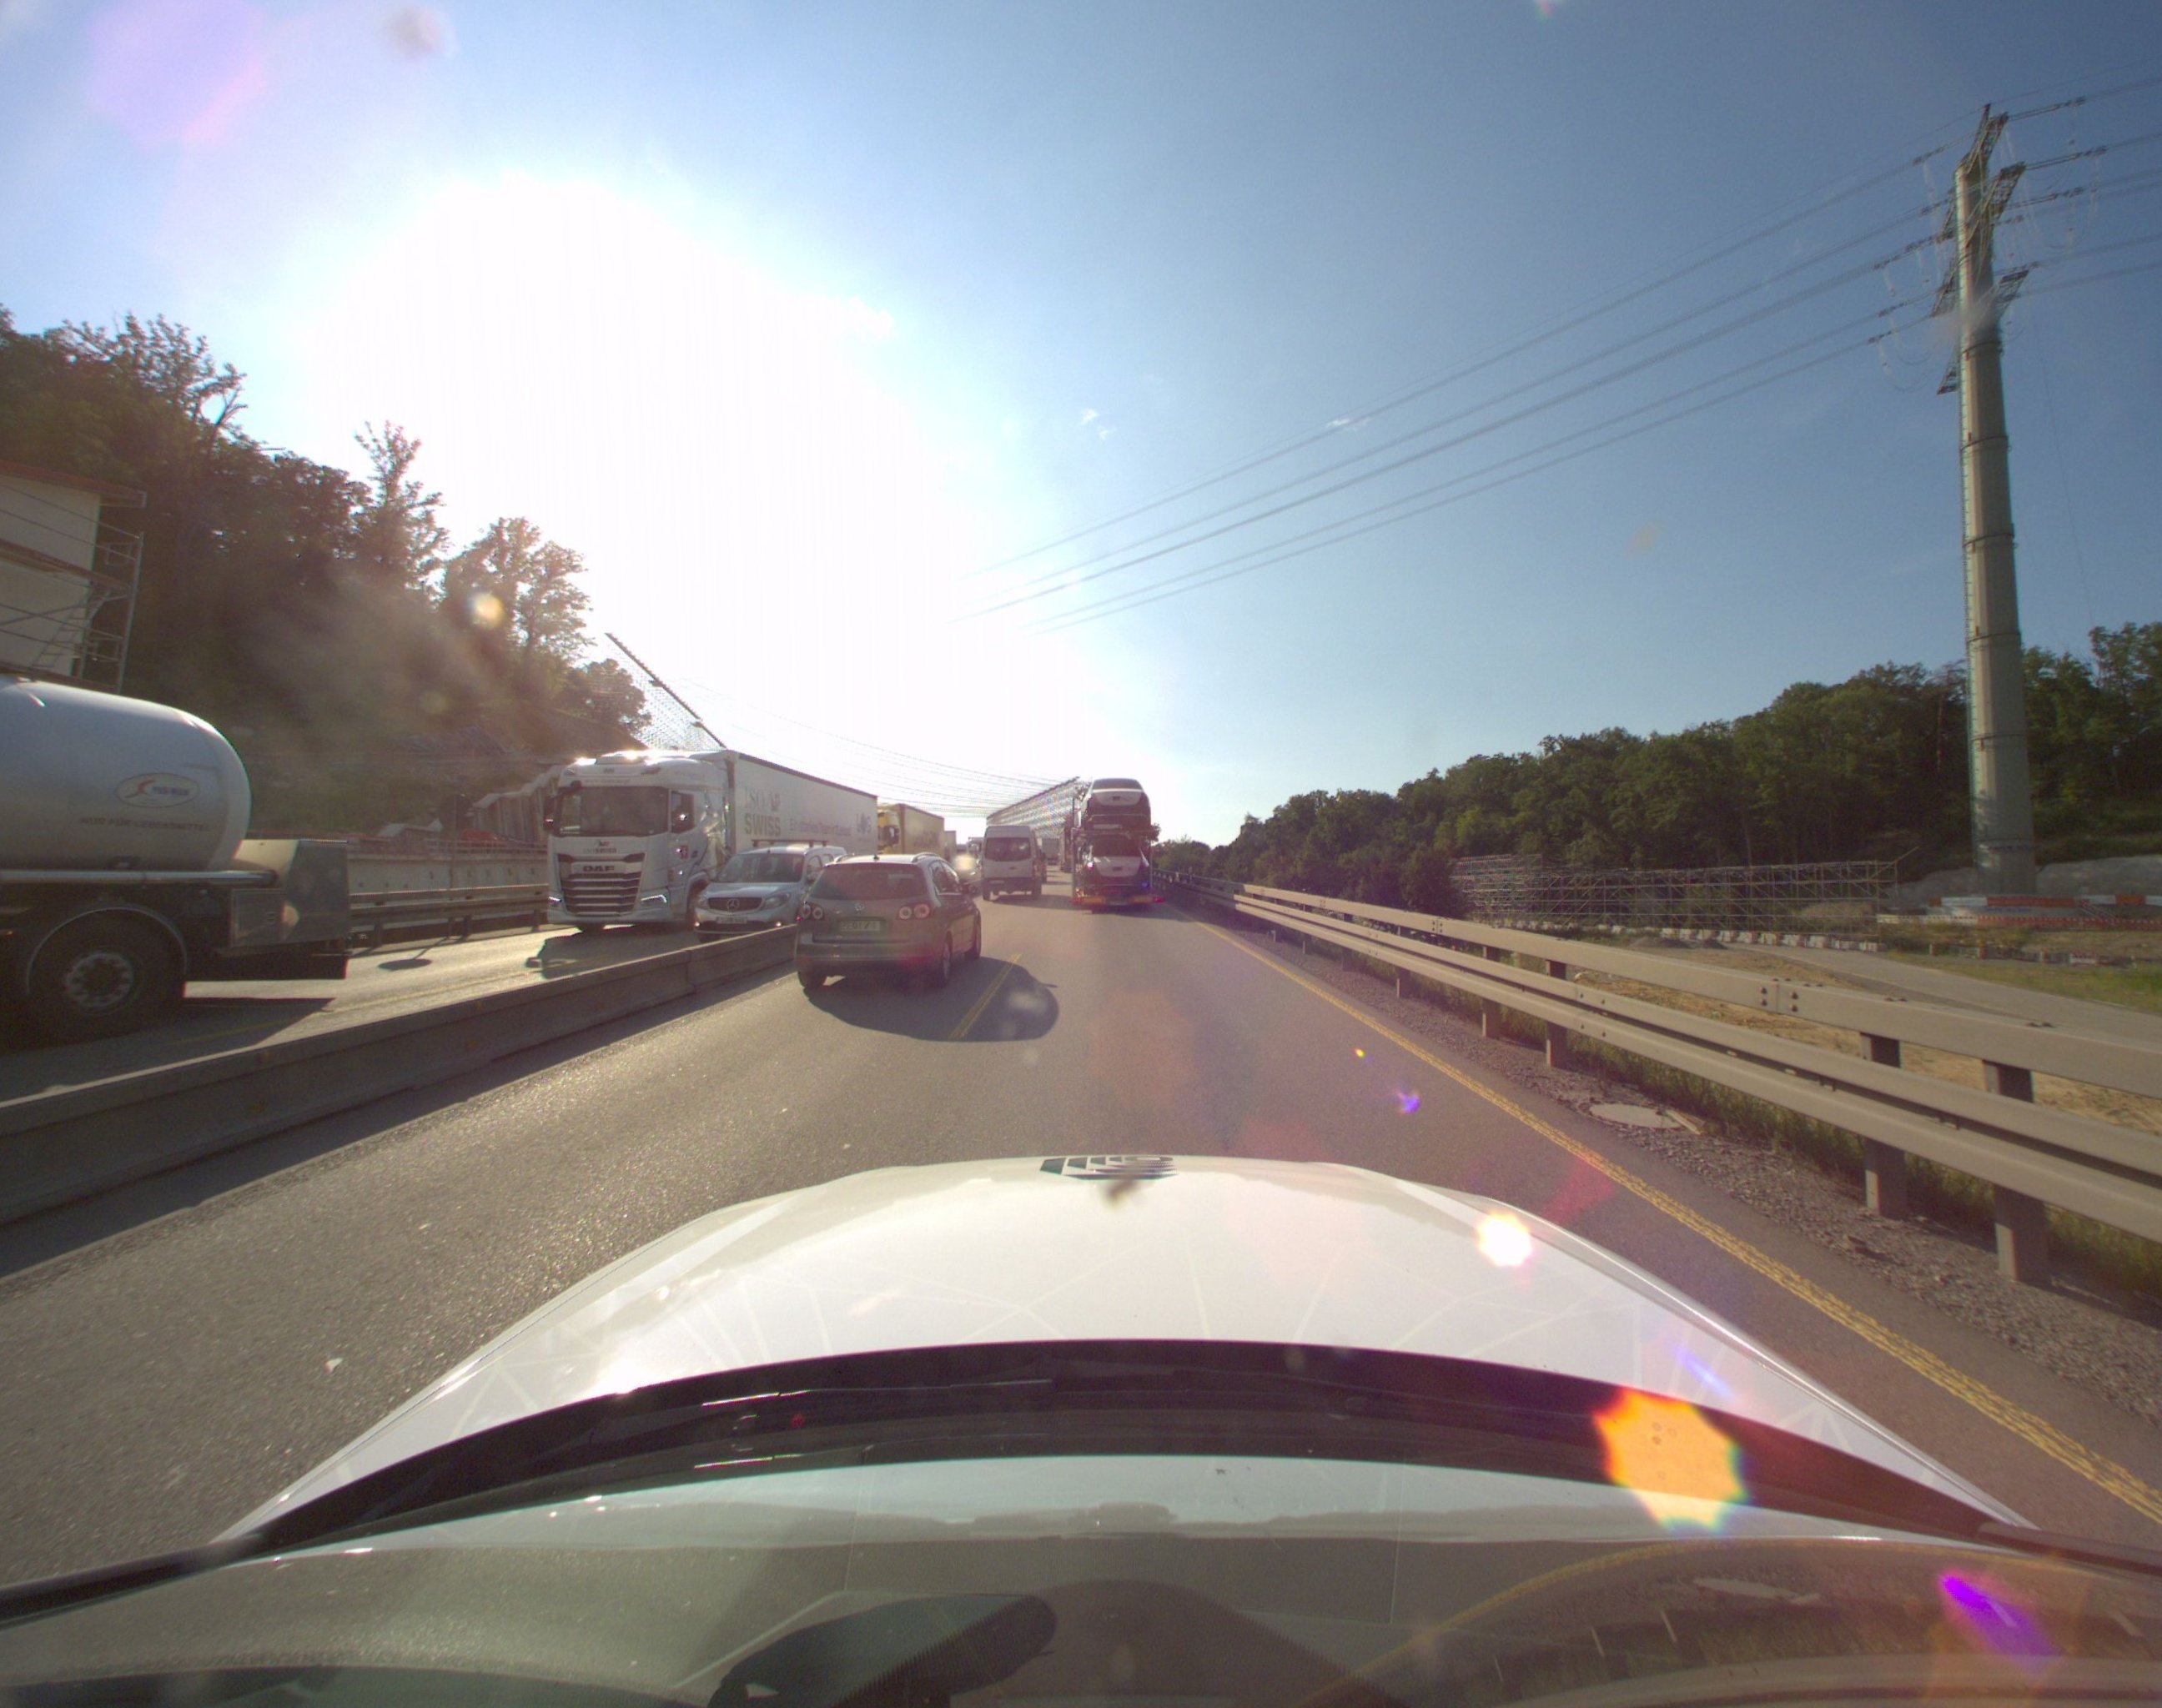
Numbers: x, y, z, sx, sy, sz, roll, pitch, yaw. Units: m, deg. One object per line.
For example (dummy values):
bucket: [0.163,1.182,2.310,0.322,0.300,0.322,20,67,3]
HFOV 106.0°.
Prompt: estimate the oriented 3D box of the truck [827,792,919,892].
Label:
truck: [-9.576,-0.455,38.101,2.885,4.272,5.767,-1,-2,-1]

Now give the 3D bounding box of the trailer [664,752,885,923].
trailer: [-9.189,-0.269,26.558,2.445,4.266,12.144,-1,-2,1]

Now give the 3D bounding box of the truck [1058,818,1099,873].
truck: [-0.350,-0.725,75.208,3.220,4.677,11.683,-1,0,-3]

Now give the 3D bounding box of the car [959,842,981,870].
car: [-11.027,0.198,81.376,1.664,2.765,4.955,-1,0,-2]

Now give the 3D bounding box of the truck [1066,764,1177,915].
truck: [1.034,-0.324,24.617,2.862,3.980,5.767,-1,-2,-1]

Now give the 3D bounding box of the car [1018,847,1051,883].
car: [-2.680,0.678,47.573,1.663,1.985,3.817,-1,-2,0]

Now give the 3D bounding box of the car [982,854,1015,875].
car: [-6.251,0.841,62.067,1.987,1.531,4.725,-1,-2,0]

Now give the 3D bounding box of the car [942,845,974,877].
car: [-11.094,0.725,73.873,2.122,2.750,5.500,-1,-2,-2]

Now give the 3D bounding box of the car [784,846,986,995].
car: [-2.378,0.776,10.935,1.695,1.587,4.145,-1,-2,0]

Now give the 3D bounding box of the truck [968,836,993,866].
truck: [-13.793,-0.371,112.574,2.634,3.995,9.021,-1,0,-2]

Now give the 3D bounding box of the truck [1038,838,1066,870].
truck: [-4.554,0.026,126.275,3.643,4.677,11.672,-1,0,-5]

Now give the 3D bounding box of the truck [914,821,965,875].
truck: [-10.036,-0.308,58.431,2.351,3.531,7.694,-1,-2,0]

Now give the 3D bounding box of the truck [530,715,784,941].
truck: [-9.276,-0.429,18.736,2.435,4.272,6.321,-1,-2,1]

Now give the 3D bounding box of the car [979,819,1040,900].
car: [-2.521,0.237,29.596,1.974,2.685,4.142,-1,-2,-3]

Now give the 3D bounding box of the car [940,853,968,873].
car: [-10.394,0.776,67.044,1.804,1.531,4.043,-1,-2,-2]

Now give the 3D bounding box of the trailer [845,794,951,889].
trailer: [-9.702,-0.384,45.325,2.885,4.394,14.370,-1,-2,-1]

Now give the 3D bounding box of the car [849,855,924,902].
car: [-6.737,0.811,28.570,1.665,1.506,3.846,-1,0,0]

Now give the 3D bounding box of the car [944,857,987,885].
car: [-6.417,0.970,45.566,1.749,1.449,4.532,-1,-2,0]

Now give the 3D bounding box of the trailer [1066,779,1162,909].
trailer: [0.891,-0.116,32.863,2.866,3.994,15.269,-1,-2,-1]

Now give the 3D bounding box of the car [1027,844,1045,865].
car: [-4.442,0.069,80.193,1.664,1.985,3.814,-1,-2,-2]

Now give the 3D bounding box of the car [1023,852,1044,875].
car: [-4.131,0.848,71.302,1.664,1.985,3.814,-1,-2,-2]

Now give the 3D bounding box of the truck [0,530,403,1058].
truck: [-9.606,-0.504,2.690,2.799,3.970,13.896,0,-1,1]

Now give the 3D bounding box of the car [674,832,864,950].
car: [-5.792,0.614,15.859,1.827,1.917,4.863,-1,0,0]
